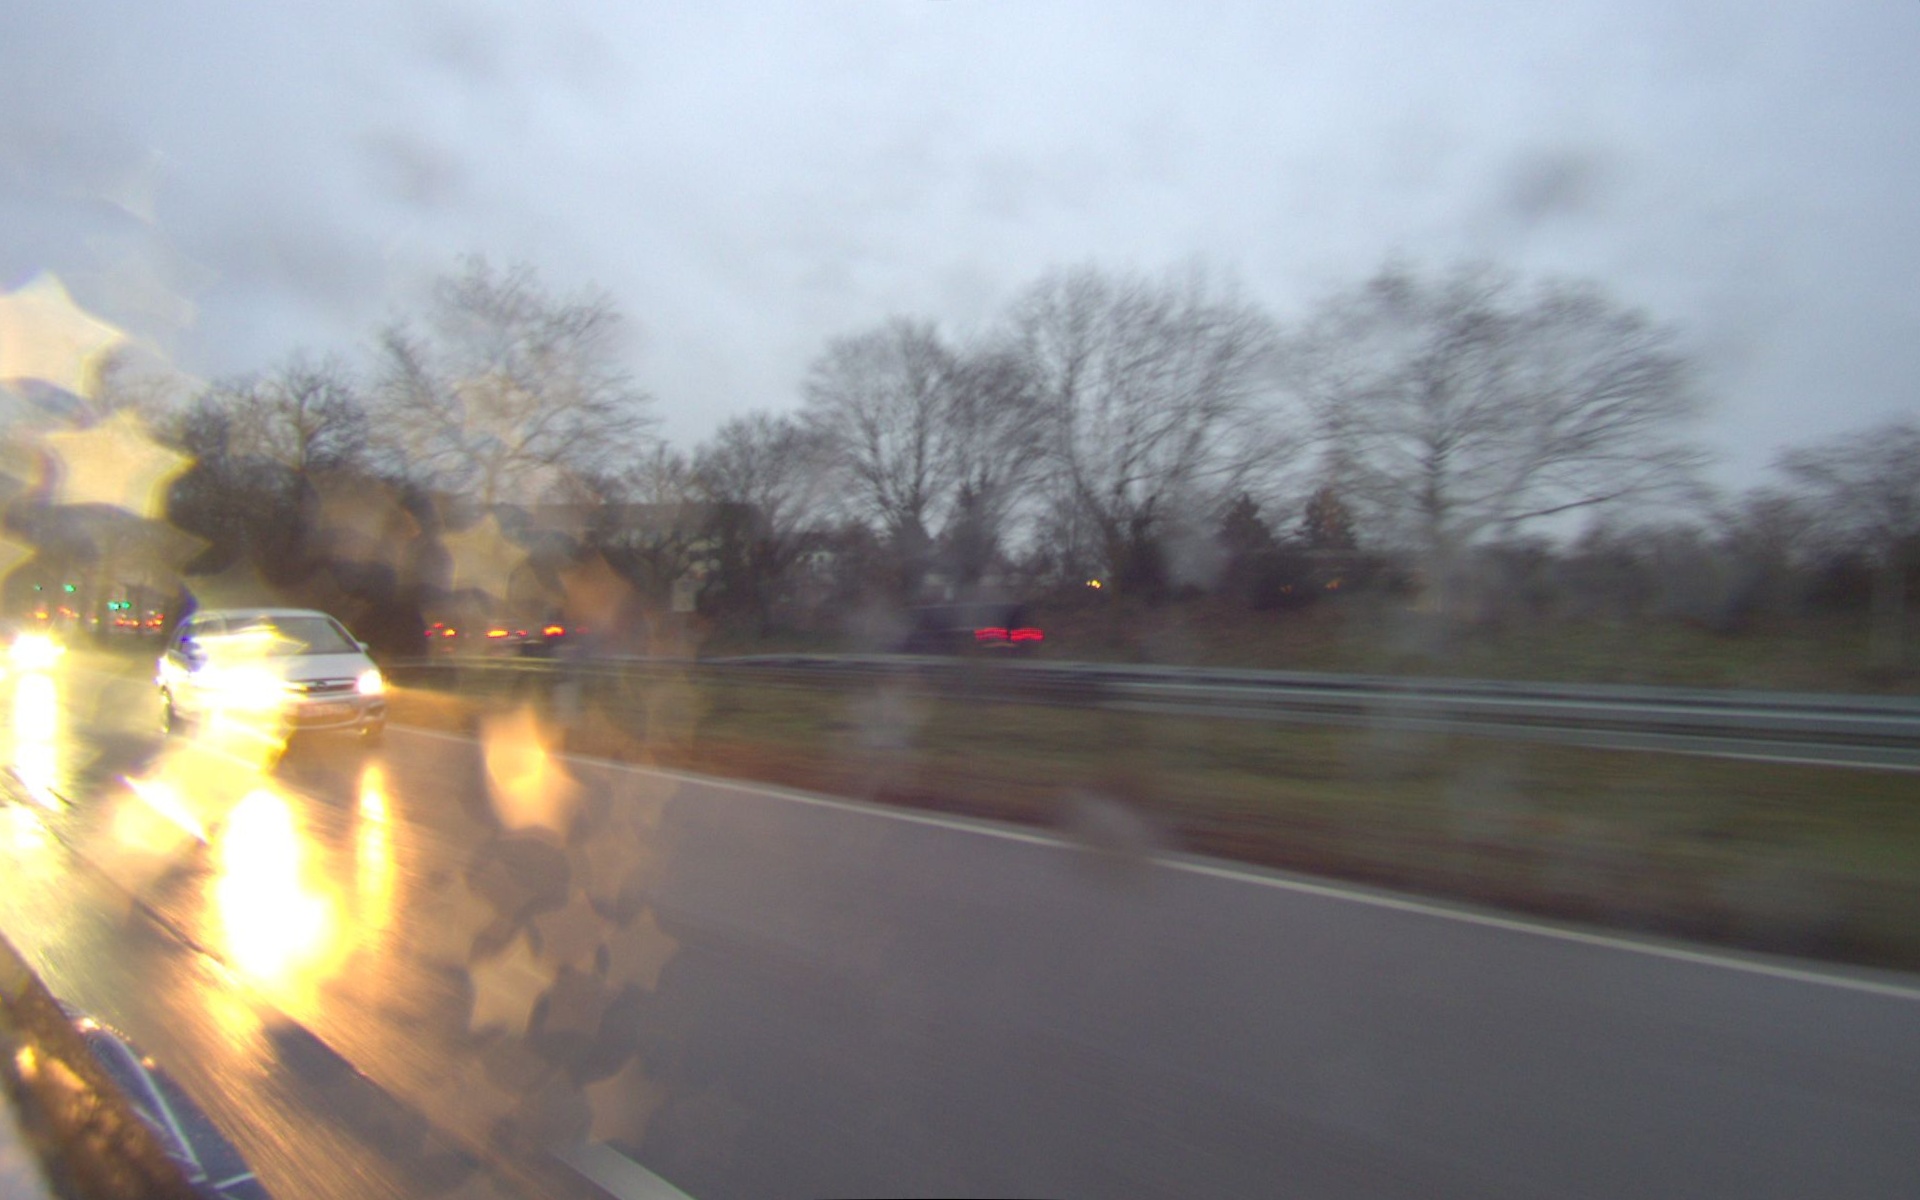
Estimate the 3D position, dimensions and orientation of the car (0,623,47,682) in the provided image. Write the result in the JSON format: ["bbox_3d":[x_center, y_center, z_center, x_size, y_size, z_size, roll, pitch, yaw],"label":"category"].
[{"bbox_3d":[-27.533,1.446,28.697,4.145,1.542,2.000,0,-1,42],"label":"car"}]

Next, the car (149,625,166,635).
[{"bbox_3d":[-117.271,4.360,147.880,1.727,1.405,4.306,1,-1,-40],"label":"car"}]

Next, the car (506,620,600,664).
[{"bbox_3d":[-15.522,1.556,38.462,1.763,1.545,4.380,1,-1,-45],"label":"car"}]

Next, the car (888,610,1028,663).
[{"bbox_3d":[-0.122,1.159,33.305,4.682,1.621,1.764,0,-1,43],"label":"car"}]

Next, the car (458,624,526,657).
[{"bbox_3d":[-24.152,2.067,52.123,4.599,1.577,1.630,0,-1,44],"label":"car"}]

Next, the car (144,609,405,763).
[{"bbox_3d":[-8.639,0.915,12.611,4.164,1.611,1.742,0,-1,42],"label":"car"}]

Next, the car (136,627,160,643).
[{"bbox_3d":[-89.835,3.815,111.962,3.982,1.694,1.599,-1,-1,44],"label":"car"}]
